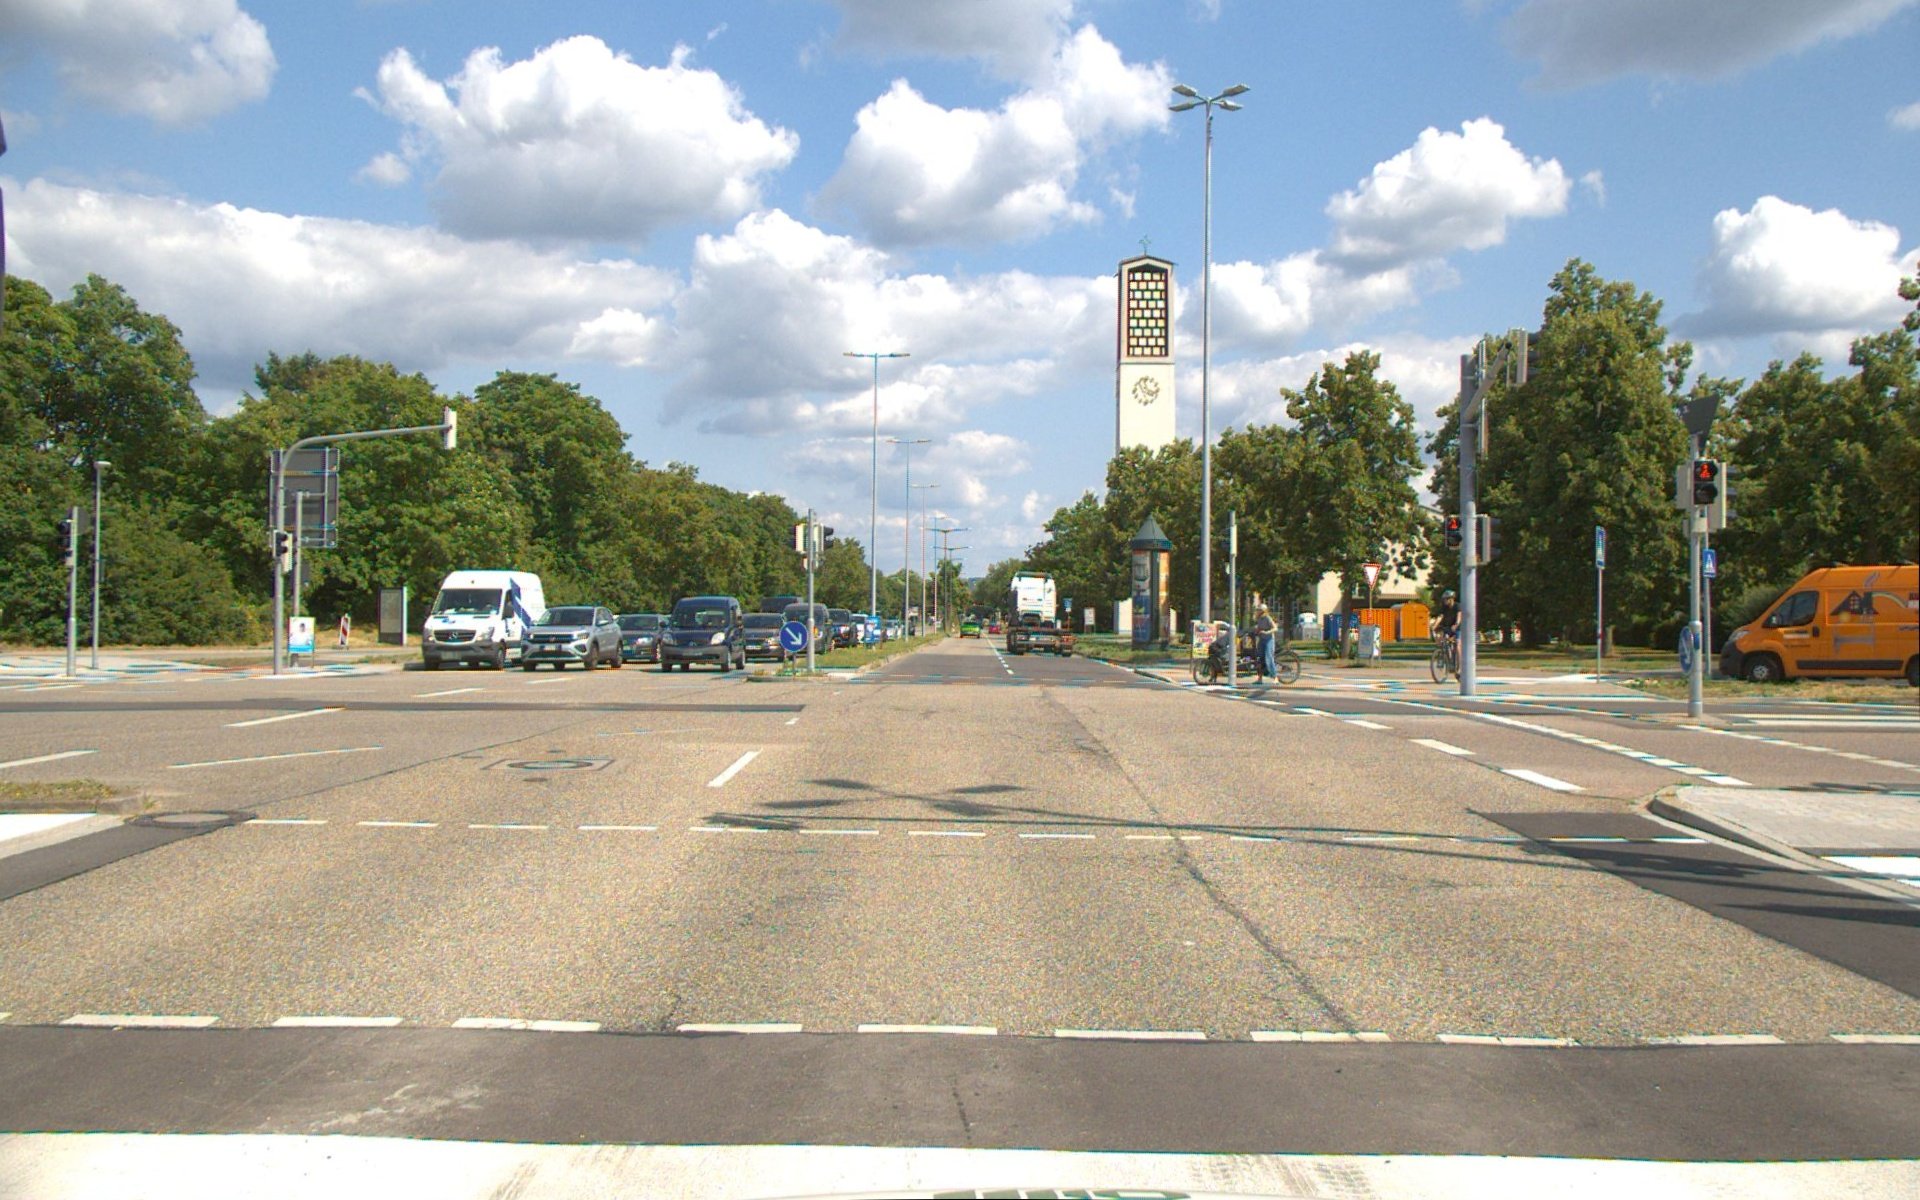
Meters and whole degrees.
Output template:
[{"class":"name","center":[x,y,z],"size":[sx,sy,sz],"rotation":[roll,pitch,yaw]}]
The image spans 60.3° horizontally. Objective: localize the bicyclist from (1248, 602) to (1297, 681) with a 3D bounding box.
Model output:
[{"class":"bicyclist","center":[6.614,0.869,34.992],"size":[0.689,1.644,0.791],"rotation":[1,0,-24]}]

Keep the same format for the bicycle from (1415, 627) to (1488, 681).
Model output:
[{"class":"bicycle","center":[10.522,1.141,35.380],"size":[0.674,1.113,1.990],"rotation":[0,-1,43]}]

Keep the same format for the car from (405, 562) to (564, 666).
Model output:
[{"class":"car","center":[-12.613,0.396,44.378],"size":[2.128,2.514,5.969],"rotation":[2,-1,3]}]

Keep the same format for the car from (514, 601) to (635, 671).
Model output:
[{"class":"car","center":[-9.469,0.881,40.940],"size":[1.698,1.570,4.310],"rotation":[2,-1,3]}]

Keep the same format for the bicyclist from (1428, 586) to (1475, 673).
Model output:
[{"class":"bicyclist","center":[10.504,0.629,35.348],"size":[0.674,1.836,0.784],"rotation":[0,-1,44]}]

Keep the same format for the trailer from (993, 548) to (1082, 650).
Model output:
[{"class":"trailer","center":[3.488,0.079,73.080],"size":[3.544,4.082,11.322],"rotation":[1,-1,3]}]

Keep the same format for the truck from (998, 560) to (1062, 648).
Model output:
[{"class":"truck","center":[3.504,0.271,81.204],"size":[2.897,4.040,8.640],"rotation":[1,-1,3]}]

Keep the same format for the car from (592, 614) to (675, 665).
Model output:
[{"class":"car","center":[-9.375,1.120,47.723],"size":[1.728,1.375,3.518],"rotation":[1,-1,-1]}]

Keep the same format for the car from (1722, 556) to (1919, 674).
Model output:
[{"class":"car","center":[18.350,0.311,33.725],"size":[4.762,2.265,2.204],"rotation":[2,-1,35]}]

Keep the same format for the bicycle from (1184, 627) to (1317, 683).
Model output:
[{"class":"bicycle","center":[6.112,1.157,34.763],"size":[2.796,1.131,0.791],"rotation":[1,0,-25]}]

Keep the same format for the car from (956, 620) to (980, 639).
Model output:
[{"class":"car","center":[0.672,2.546,145.224],"size":[1.953,1.579,3.999],"rotation":[2,-1,-1]}]

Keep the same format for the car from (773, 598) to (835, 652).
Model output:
[{"class":"car","center":[-5.326,0.823,56.764],"size":[1.699,1.689,4.231],"rotation":[2,0,-1]}]

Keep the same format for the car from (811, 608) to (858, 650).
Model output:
[{"class":"car","center":[-5.338,1.233,70.653],"size":[1.699,1.689,4.230],"rotation":[2,-1,-1]}]

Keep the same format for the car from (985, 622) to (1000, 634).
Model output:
[{"class":"car","center":[4.758,4.087,239.785],"size":[1.953,1.579,3.999],"rotation":[2,-1,-1]}]

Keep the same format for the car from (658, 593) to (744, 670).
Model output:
[{"class":"car","center":[-6.182,0.752,39.797],"size":[1.701,1.689,4.226],"rotation":[2,-1,-5]}]

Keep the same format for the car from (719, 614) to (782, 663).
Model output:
[{"class":"car","center":[-6.173,1.127,49.057],"size":[1.537,1.339,3.430],"rotation":[2,-1,-3]}]

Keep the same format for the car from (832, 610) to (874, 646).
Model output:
[{"class":"car","center":[-5.290,1.403,82.235],"size":[1.699,1.689,4.230],"rotation":[2,-1,0]}]
